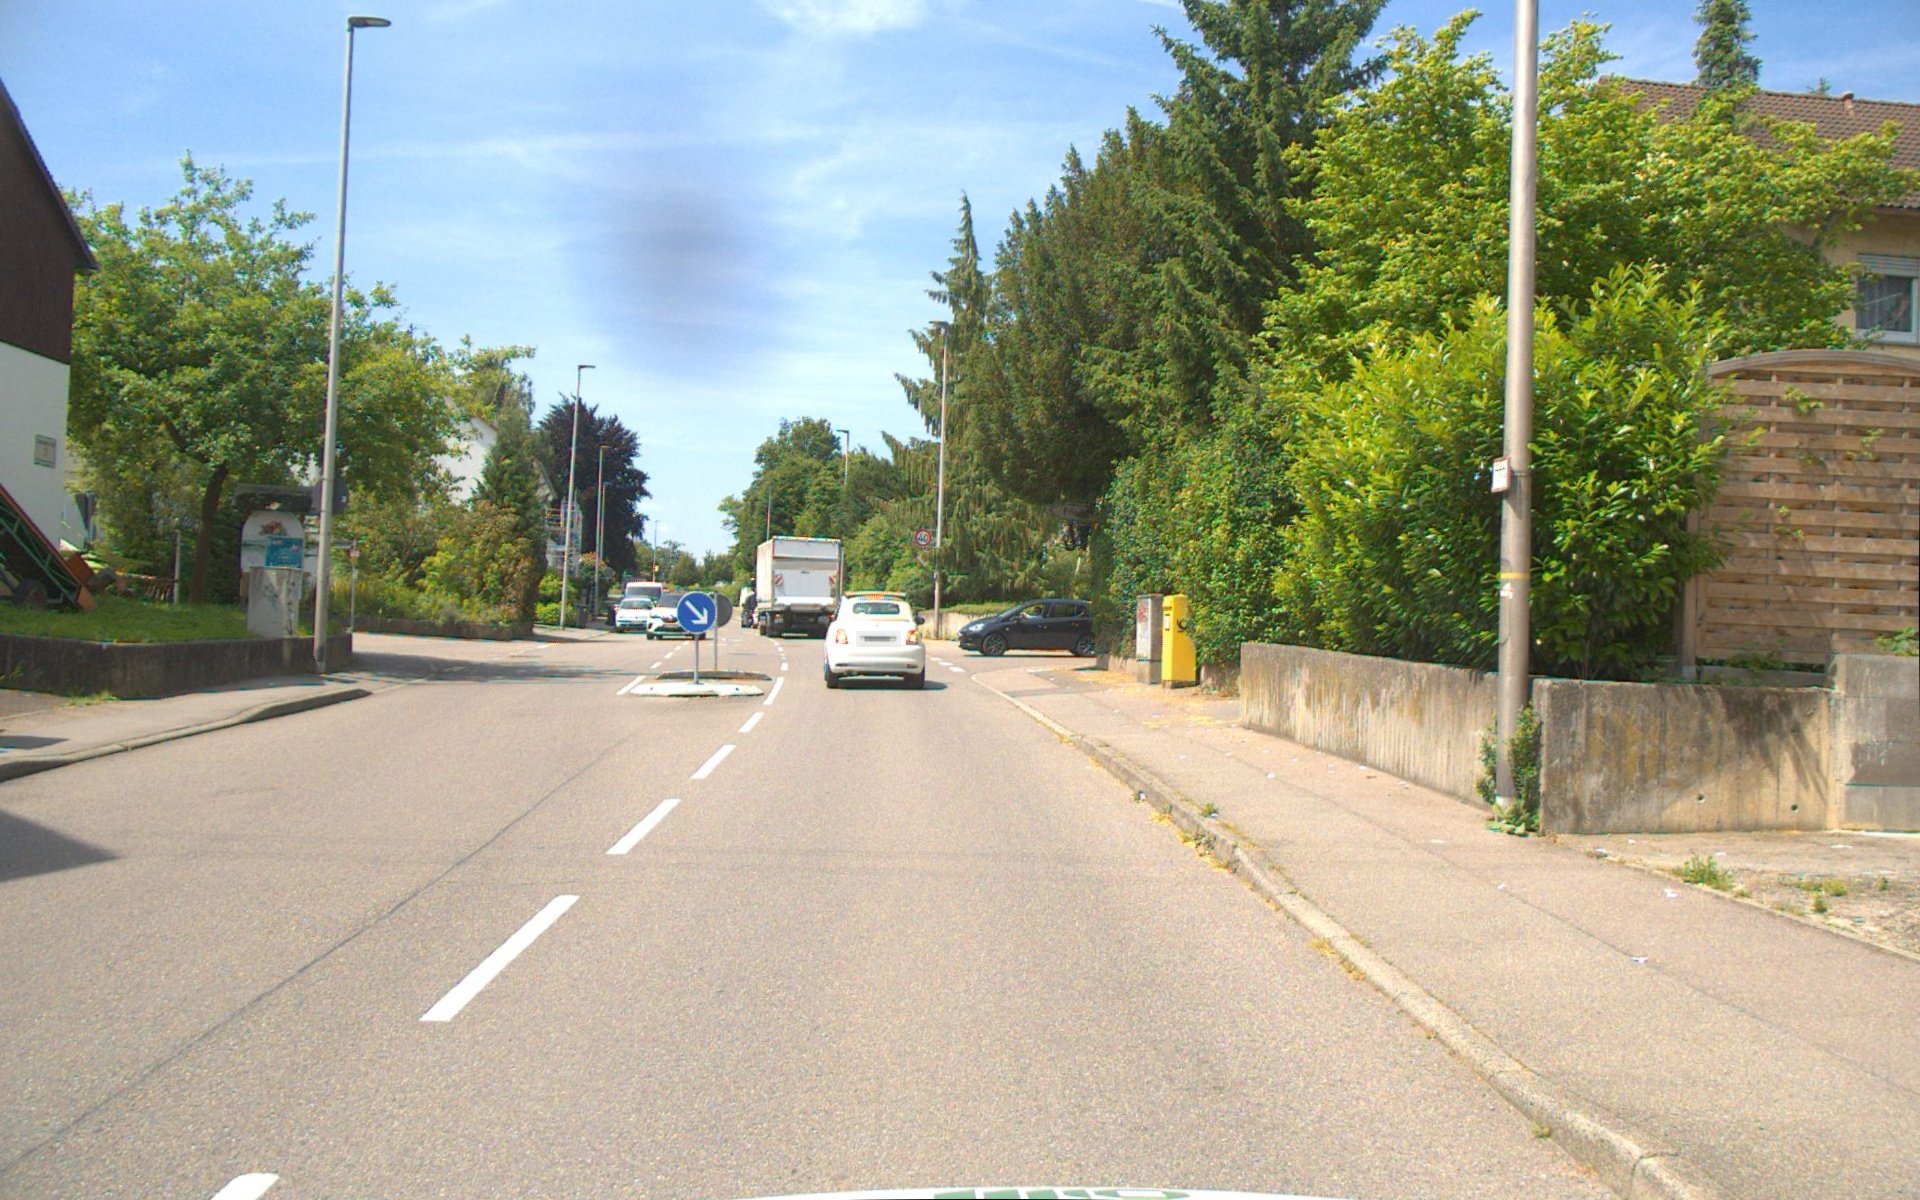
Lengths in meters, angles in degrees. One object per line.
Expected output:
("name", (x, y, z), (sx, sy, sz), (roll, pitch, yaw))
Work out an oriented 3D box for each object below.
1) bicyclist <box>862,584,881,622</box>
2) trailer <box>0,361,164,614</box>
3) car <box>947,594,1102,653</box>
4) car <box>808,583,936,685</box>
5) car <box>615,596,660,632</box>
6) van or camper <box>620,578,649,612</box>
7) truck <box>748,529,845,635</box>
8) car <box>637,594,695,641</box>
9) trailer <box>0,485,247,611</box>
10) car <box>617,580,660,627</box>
("bicyclist", (-3.410, 0.102, 63.774), (0.577, 1.437, 0.740), (3, 0, -10))
("trailer", (-12.025, -1.325, 20.563), (1.679, 2.898, 6.167), (2, 0, -5))
("car", (1.665, 0.609, 43.316), (3.857, 1.483, 1.656), (1, 0, -6))
("car", (-1.555, 0.540, 27.916), (1.693, 1.587, 3.990), (1, 0, -10))
("car", (-13.653, 0.575, 70.022), (1.773, 1.422, 3.988), (1, 0, -12))
("van or camper", (-30.593, -0.454, 155.482), (2.222, 3.014, 5.878), (3, 0, -8))
("truck", (-6.449, -0.632, 64.206), (3.013, 3.840, 7.846), (1, -1, -11))
("car", (-10.206, 0.607, 57.655), (1.749, 1.556, 4.164), (0, -1, -7))
("trailer", (-14.034, -0.847, 26.756), (3.621, 1.720, 2.764), (4, -1, 23))
("car", (-16.192, 0.163, 83.193), (2.001, 2.238, 5.566), (1, 0, -12))
